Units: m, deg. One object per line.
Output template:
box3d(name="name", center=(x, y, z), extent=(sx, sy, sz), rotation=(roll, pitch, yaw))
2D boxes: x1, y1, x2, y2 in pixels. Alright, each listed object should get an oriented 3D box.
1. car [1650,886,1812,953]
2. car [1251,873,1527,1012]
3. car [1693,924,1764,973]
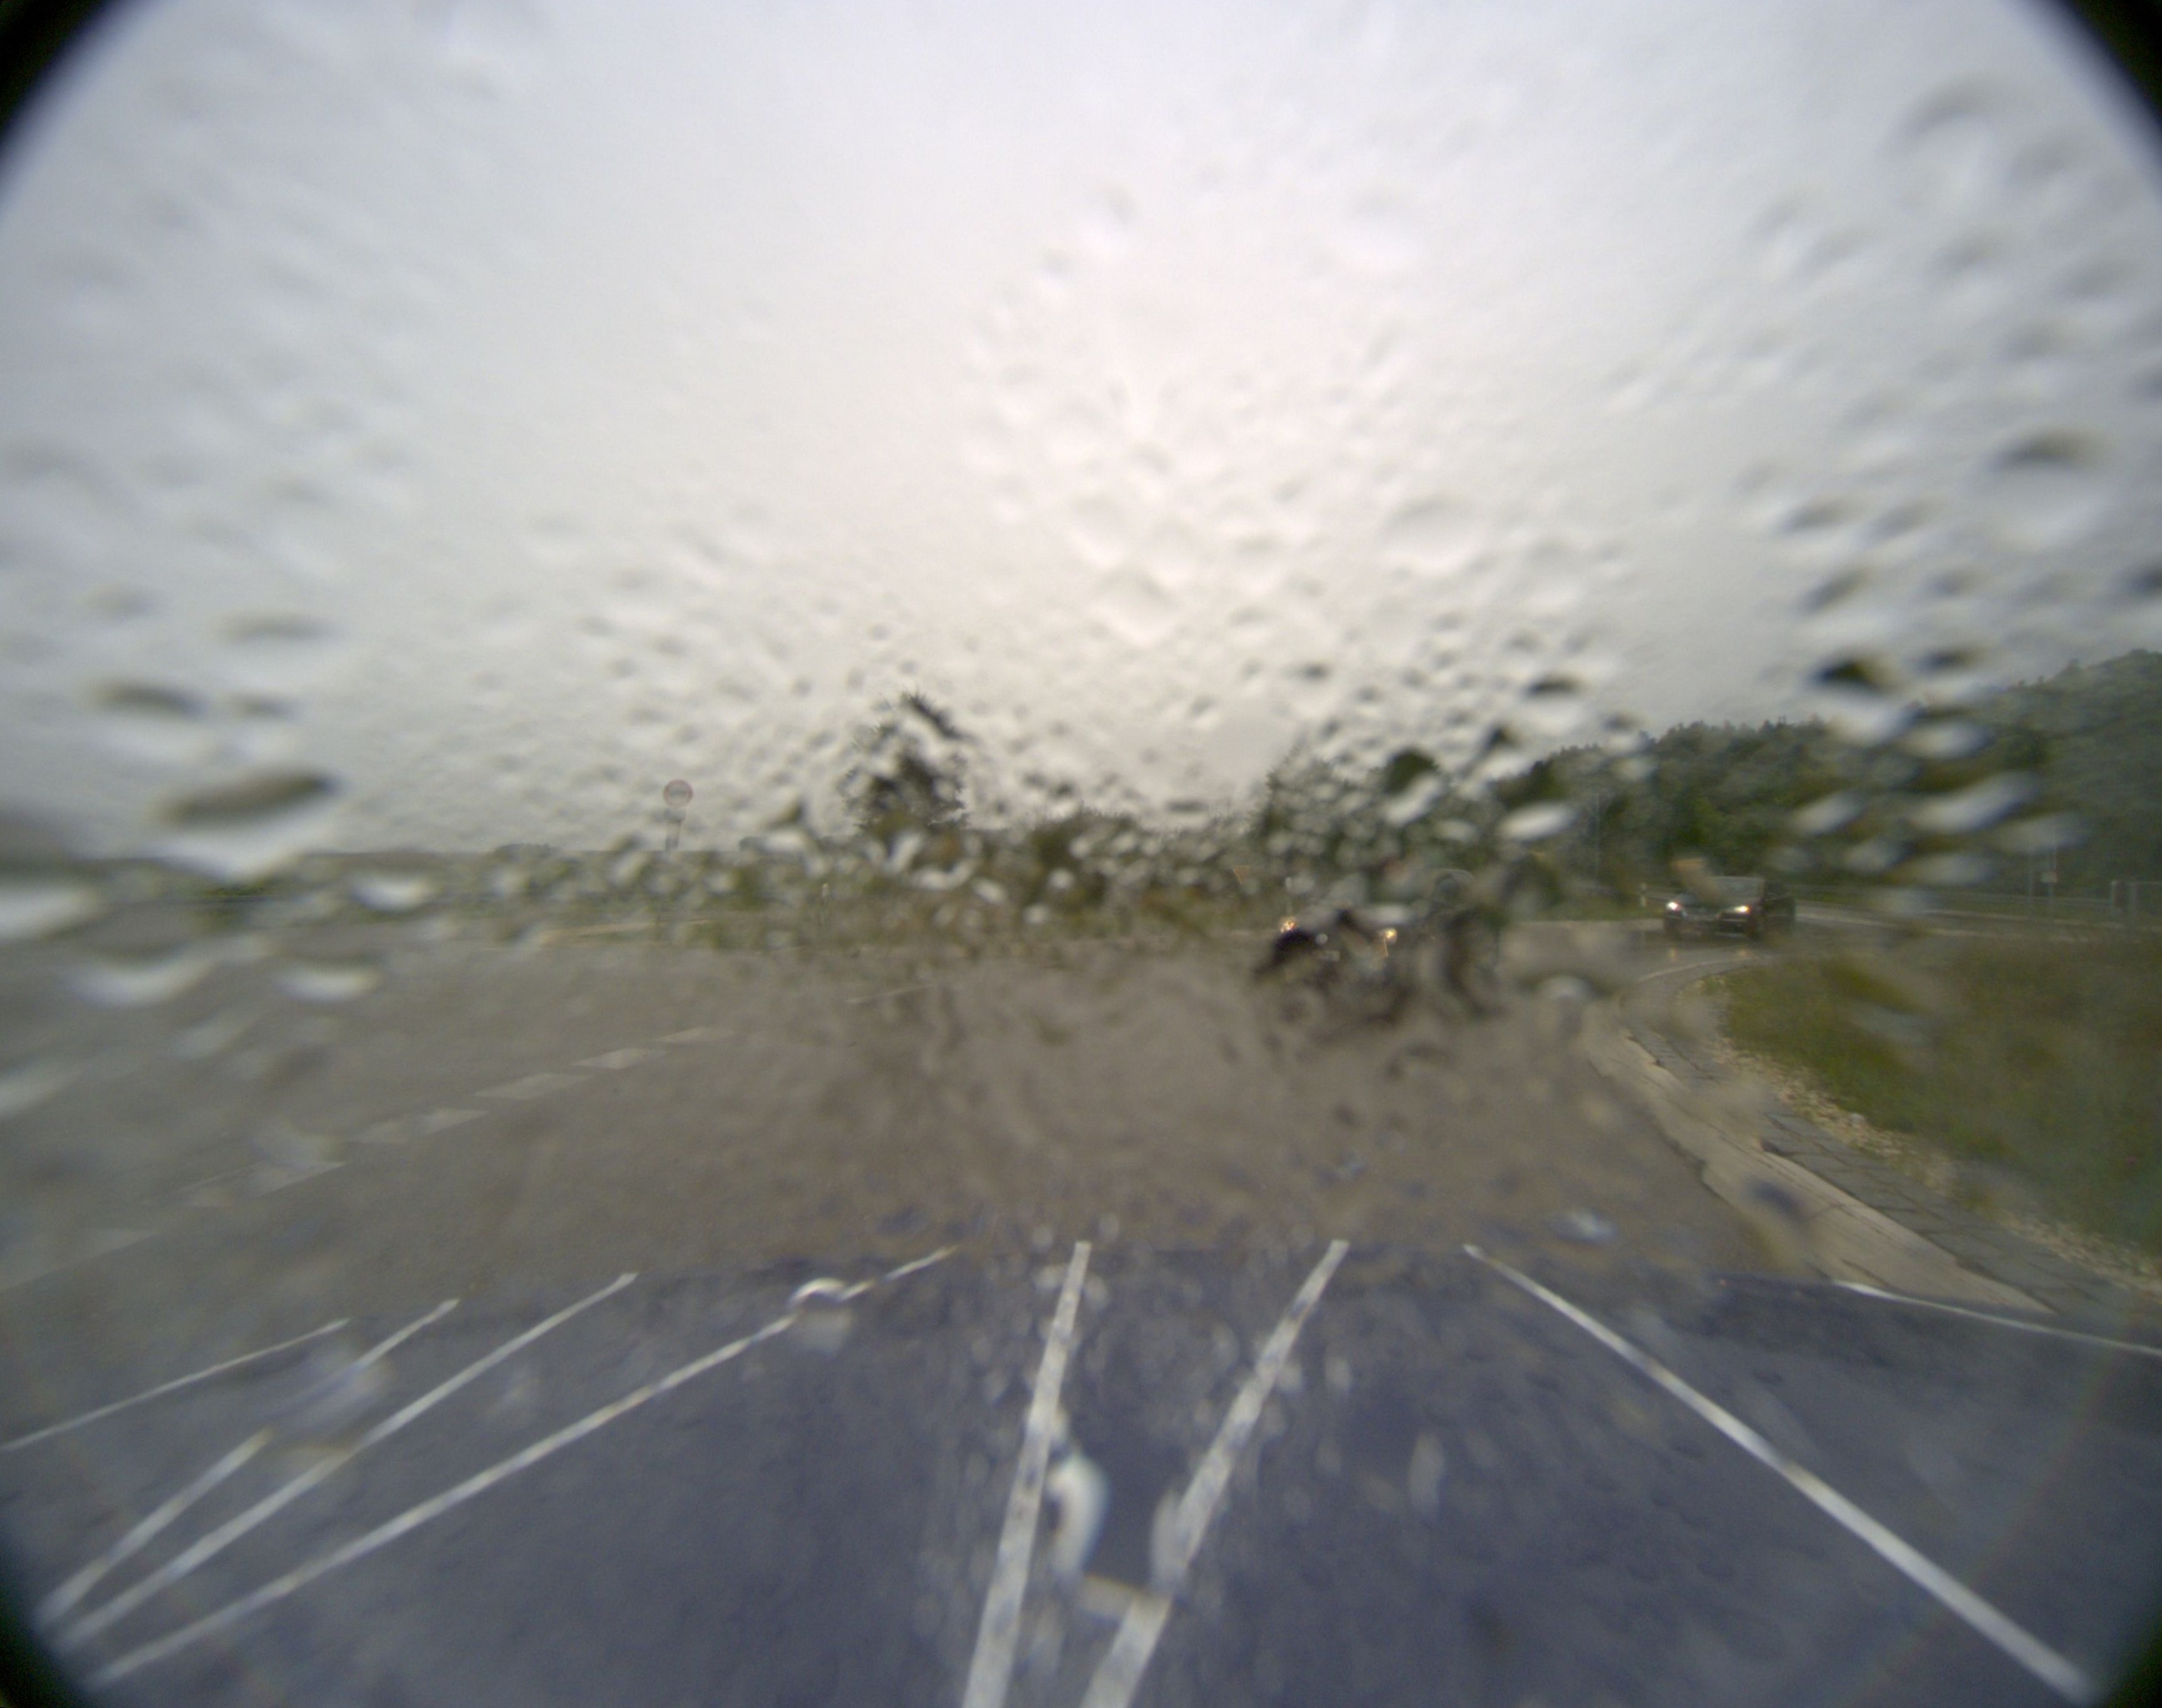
box3d(name="car", center=(15.876, 1.533, 18.483), extent=(4.513, 1.363, 1.944), rotation=(2, -1, -36))
box3d(name="car", center=(4.343, 0.992, 10.293), extent=(1.869, 1.412, 4.514), rotation=(1, 0, 44))
box3d(name="car", center=(24.589, 3.529, 28.974), extent=(1.759, 1.412, 4.514), rotation=(1, -1, 37))
